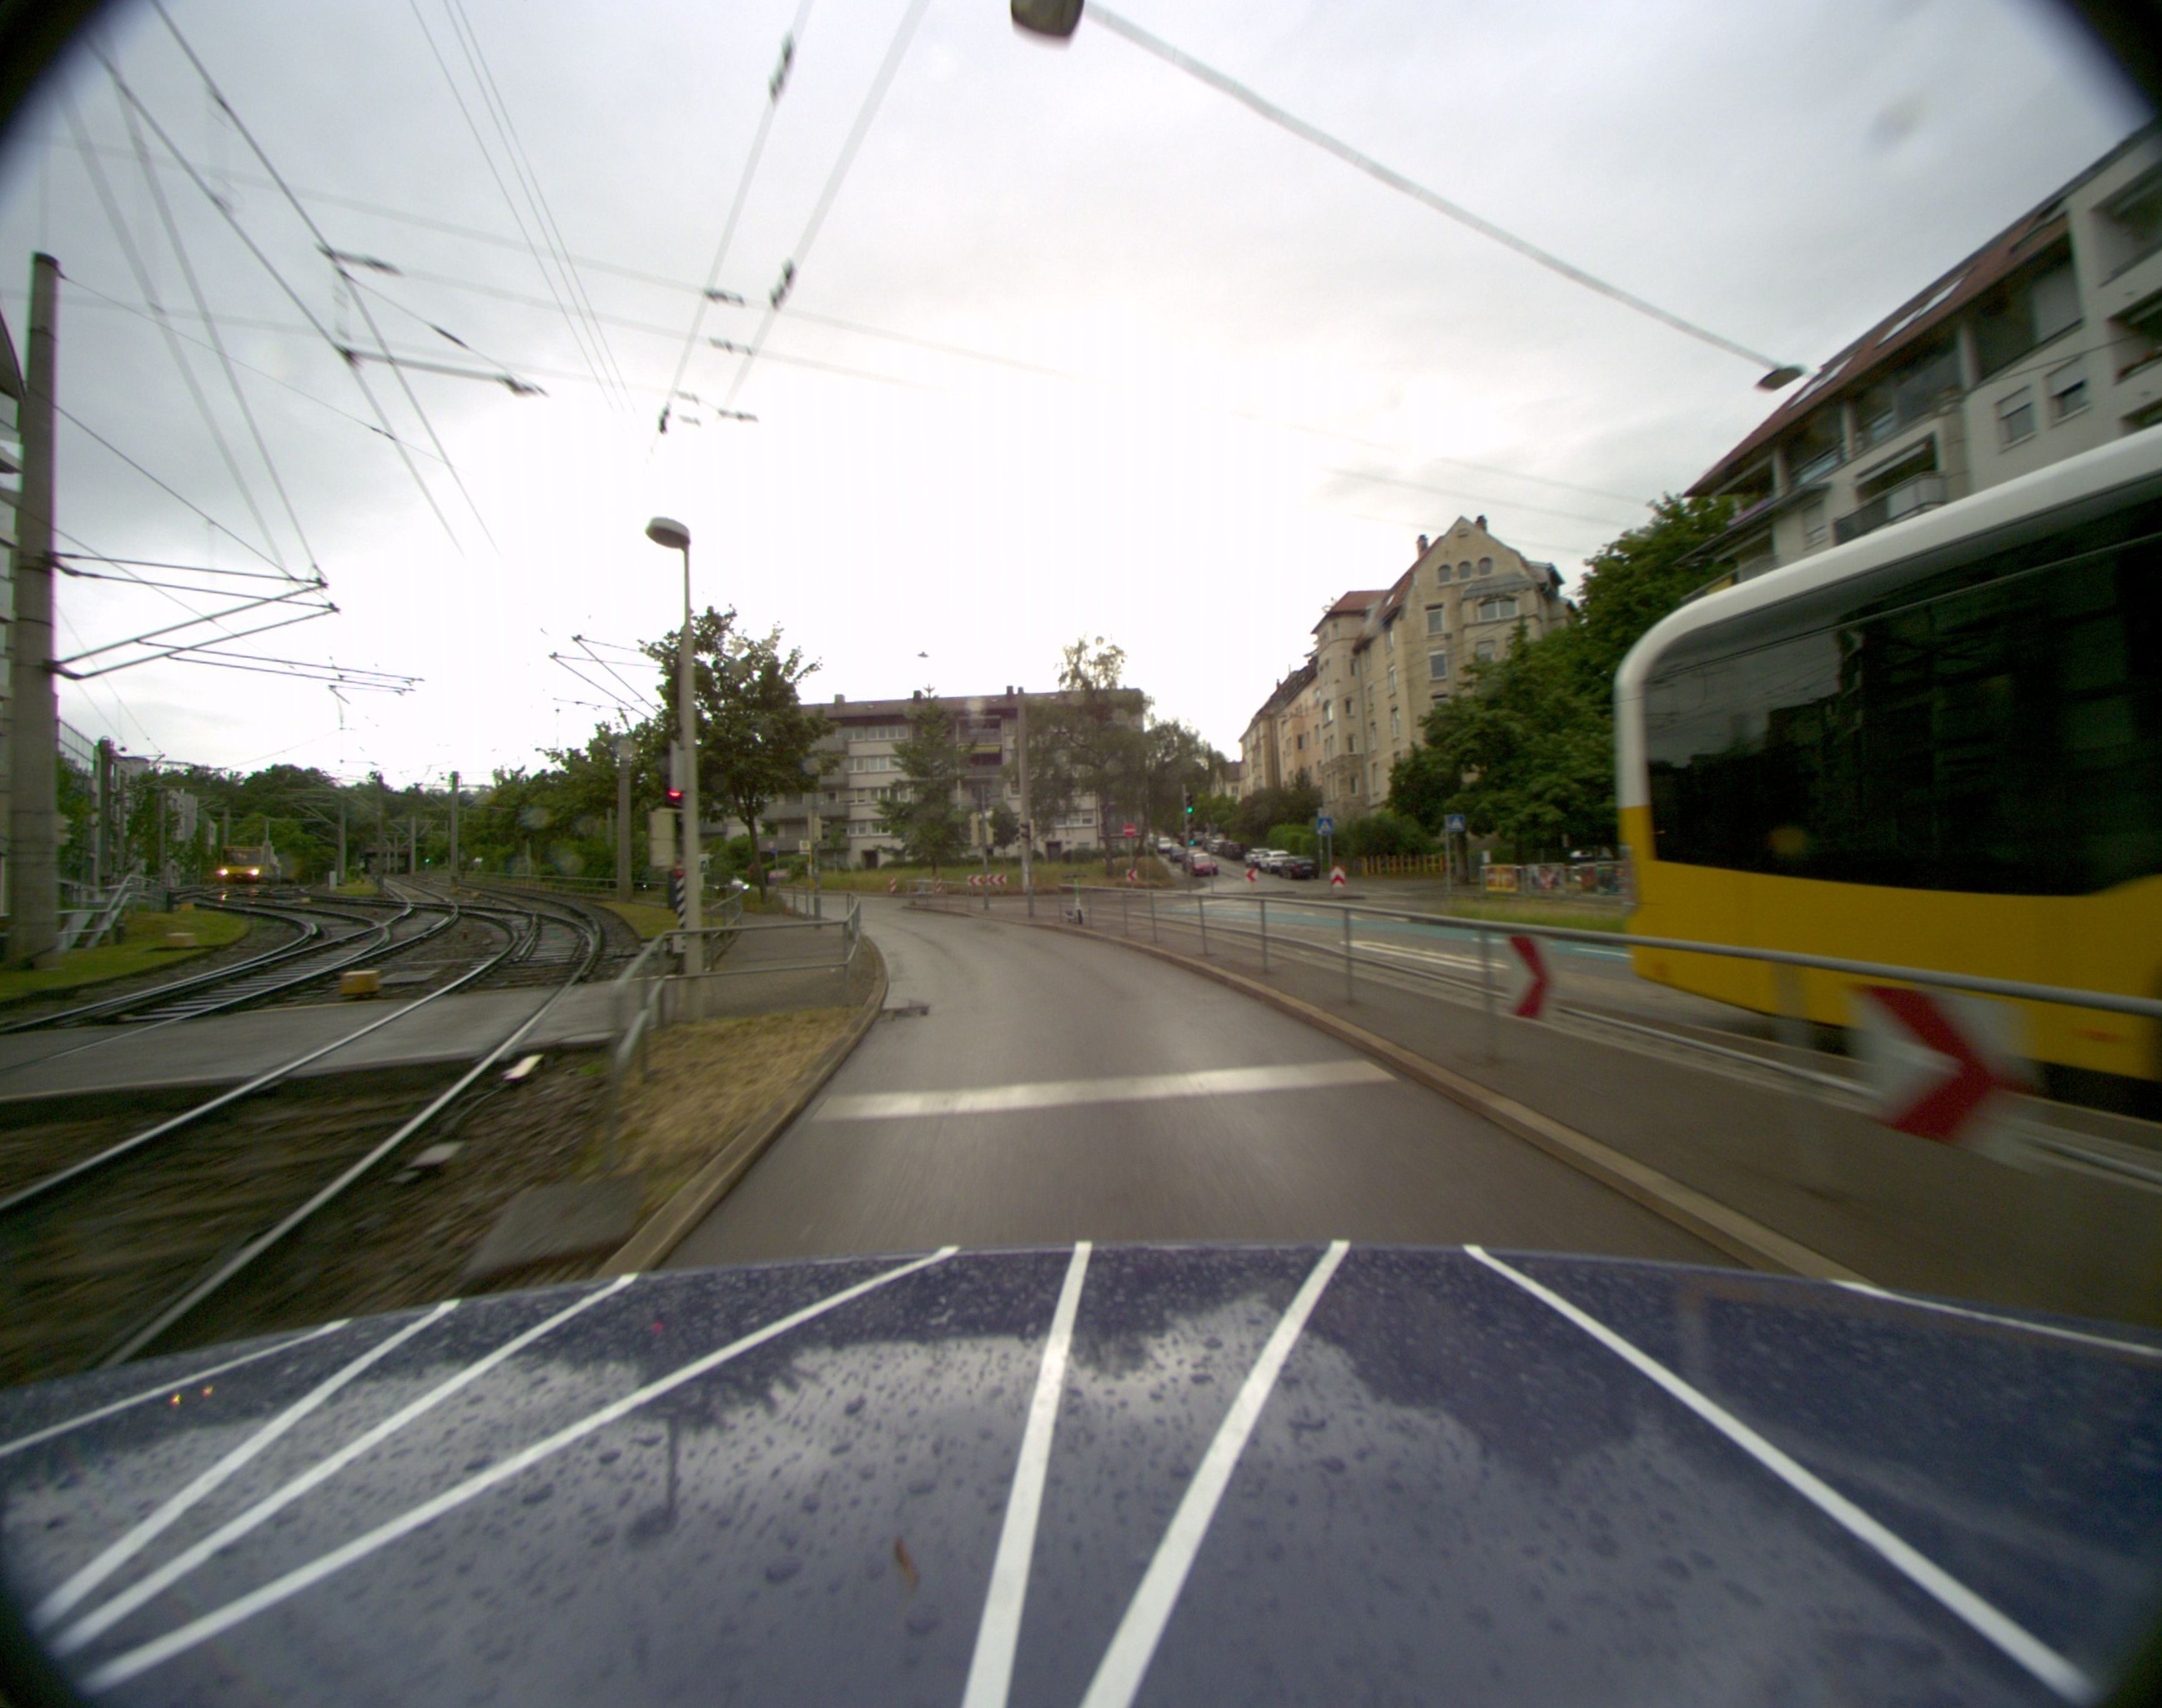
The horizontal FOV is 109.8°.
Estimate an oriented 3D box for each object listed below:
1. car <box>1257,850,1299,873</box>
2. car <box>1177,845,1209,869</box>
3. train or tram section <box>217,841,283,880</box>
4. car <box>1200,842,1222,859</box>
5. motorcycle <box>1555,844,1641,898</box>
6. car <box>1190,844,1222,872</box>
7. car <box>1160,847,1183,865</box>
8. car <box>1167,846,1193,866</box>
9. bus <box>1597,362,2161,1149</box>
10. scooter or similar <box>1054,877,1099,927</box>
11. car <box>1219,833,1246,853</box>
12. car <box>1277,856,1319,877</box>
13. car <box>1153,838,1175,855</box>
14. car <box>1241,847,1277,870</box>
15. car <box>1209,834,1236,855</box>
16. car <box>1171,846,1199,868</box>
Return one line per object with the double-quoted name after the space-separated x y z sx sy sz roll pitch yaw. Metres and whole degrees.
14.469 0.507 56.016 1.998 1.584 4.356 -1 0 1 "car"
9.171 0.259 62.381 1.805 1.824 4.283 -1 0 -2 "car"
-81.686 0.640 74.958 3.214 3.540 14.461 0 -1 -43 "train or tram section"
14.087 -0.354 82.512 1.680 1.824 3.665 -1 0 -2 "car"
15.900 0.497 23.457 0.699 1.541 2.439 -5 1 -6 "motorcycle"
9.350 0.325 57.185 1.998 2.001 4.001 -1 0 4 "car"
9.483 0.167 80.011 1.805 1.824 4.283 -1 0 -2 "car"
9.452 0.212 73.040 1.805 1.824 4.283 -1 0 -2 "car"
6.218 -0.447 2.034 2.598 3.449 9.101 -1 0 -7 "bus"
-0.130 1.129 18.184 0.435 1.107 1.602 -3 0 -23 "scooter or similar"
14.390 -1.052 72.142 1.680 1.824 3.665 -1 0 -2 "car"
13.959 0.782 49.000 1.751 1.216 4.357 -1 0 4 "car"
9.405 -0.806 86.184 1.805 1.824 4.283 -1 0 -2 "car"
14.411 0.359 61.674 1.805 1.824 4.283 0 0 -2 "car"
14.079 -0.891 76.006 1.998 2.002 4.000 -1 0 1 "car"
9.282 0.269 68.067 1.805 1.824 4.283 -1 0 -2 "car"
